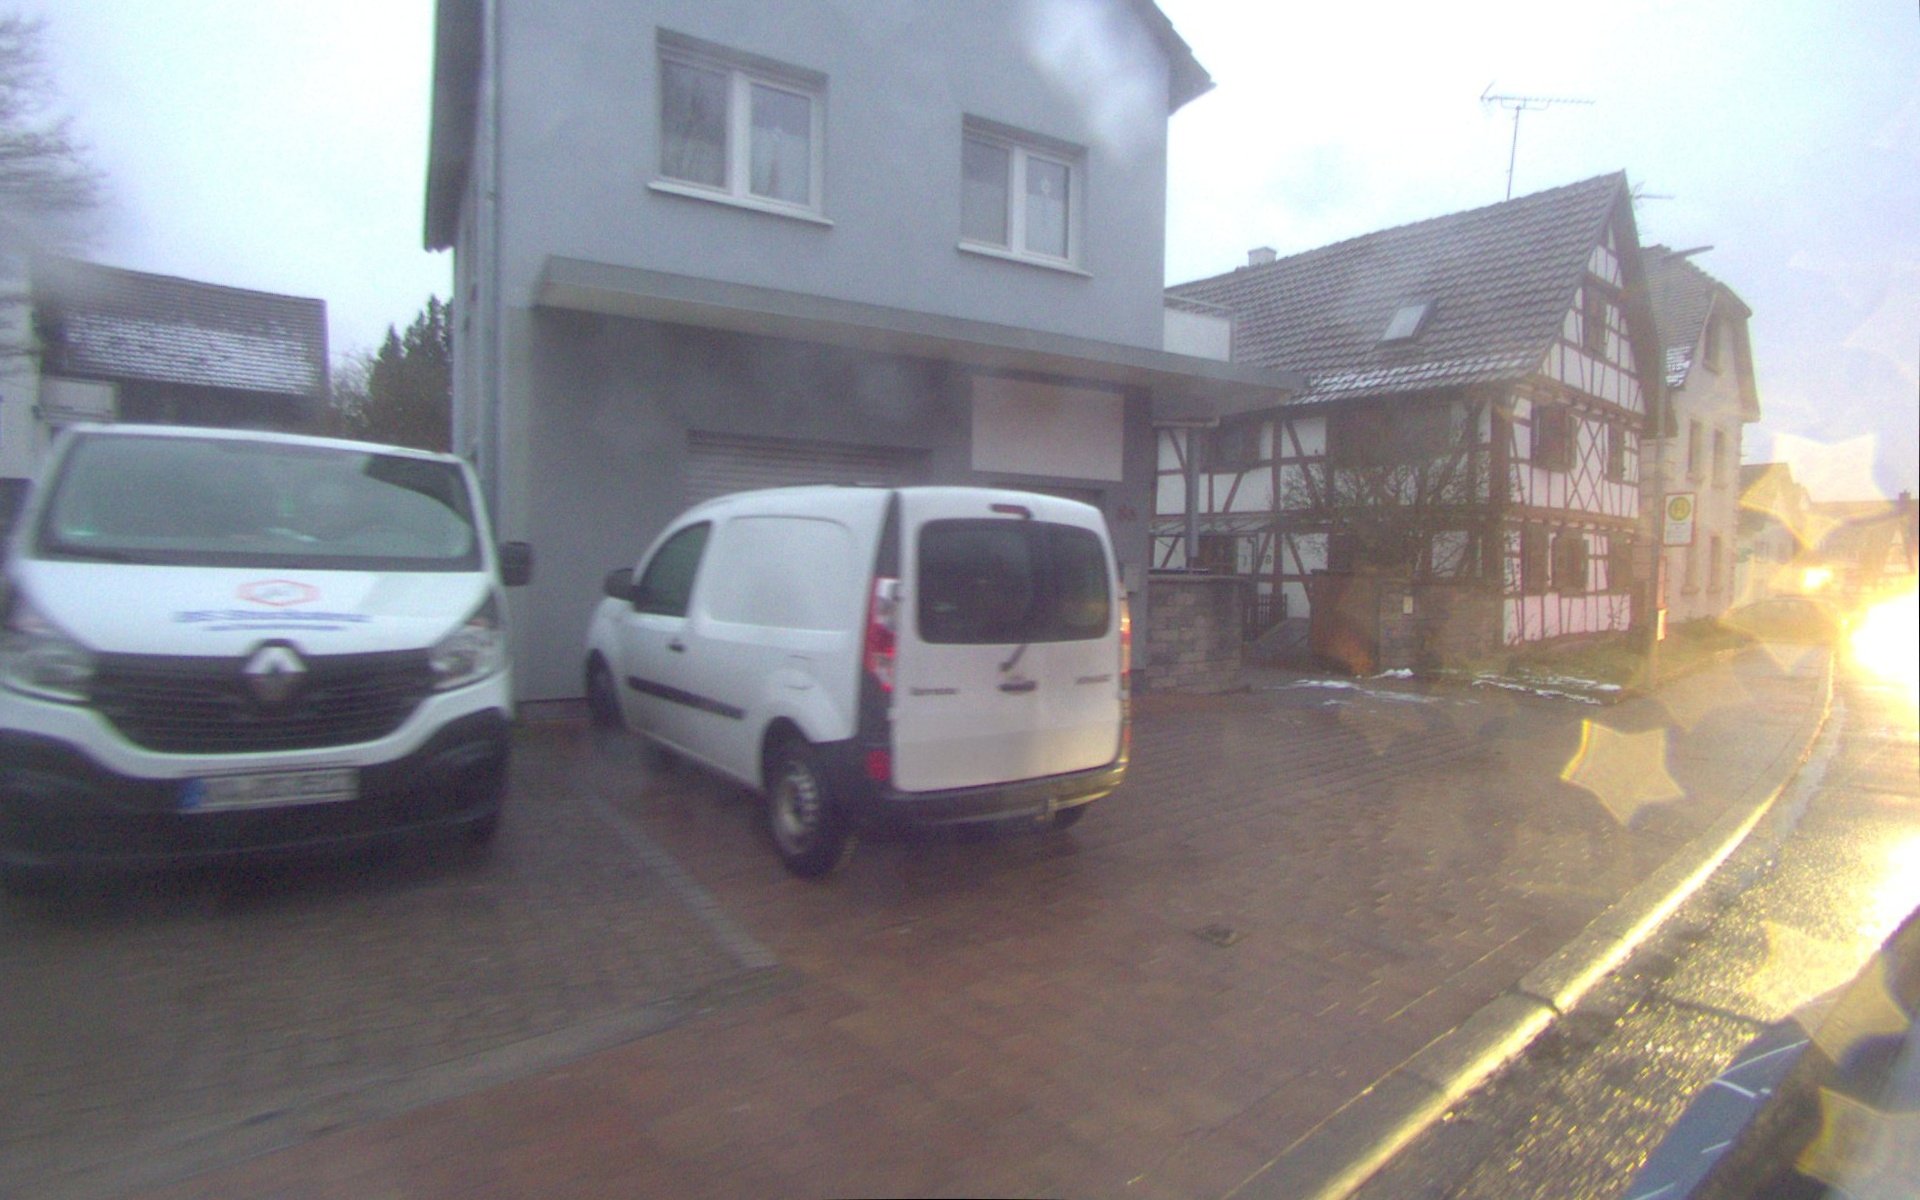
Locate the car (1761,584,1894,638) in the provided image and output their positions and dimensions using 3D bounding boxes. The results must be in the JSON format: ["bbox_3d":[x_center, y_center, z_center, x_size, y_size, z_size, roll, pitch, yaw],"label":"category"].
[{"bbox_3d":[34.311,0.391,40.181,3.872,1.900,1.843,3,2,39],"label":"car"}]

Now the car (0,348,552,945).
[{"bbox_3d":[-3.855,-0.008,5.697,1.899,1.911,5.002,1,3,-33],"label":"car"}]

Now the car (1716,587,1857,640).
[{"bbox_3d":[30.025,0.449,36.874,3.838,1.647,1.588,4,2,40],"label":"car"}]

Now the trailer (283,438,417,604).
[{"bbox_3d":[-10.571,-1.435,17.767,1.802,2.546,4.010,0,6,-29],"label":"trailer"}]

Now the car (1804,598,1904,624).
[{"bbox_3d":[47.114,0.580,53.391,3.880,1.141,1.526,4,2,44],"label":"car"}]

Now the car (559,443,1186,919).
[{"bbox_3d":[-0.859,0.176,6.113,1.830,1.865,4.055,0,4,-38],"label":"car"}]

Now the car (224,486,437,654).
[{"bbox_3d":[-7.378,-0.464,12.089,1.843,1.641,4.008,1,5,-30],"label":"car"}]
